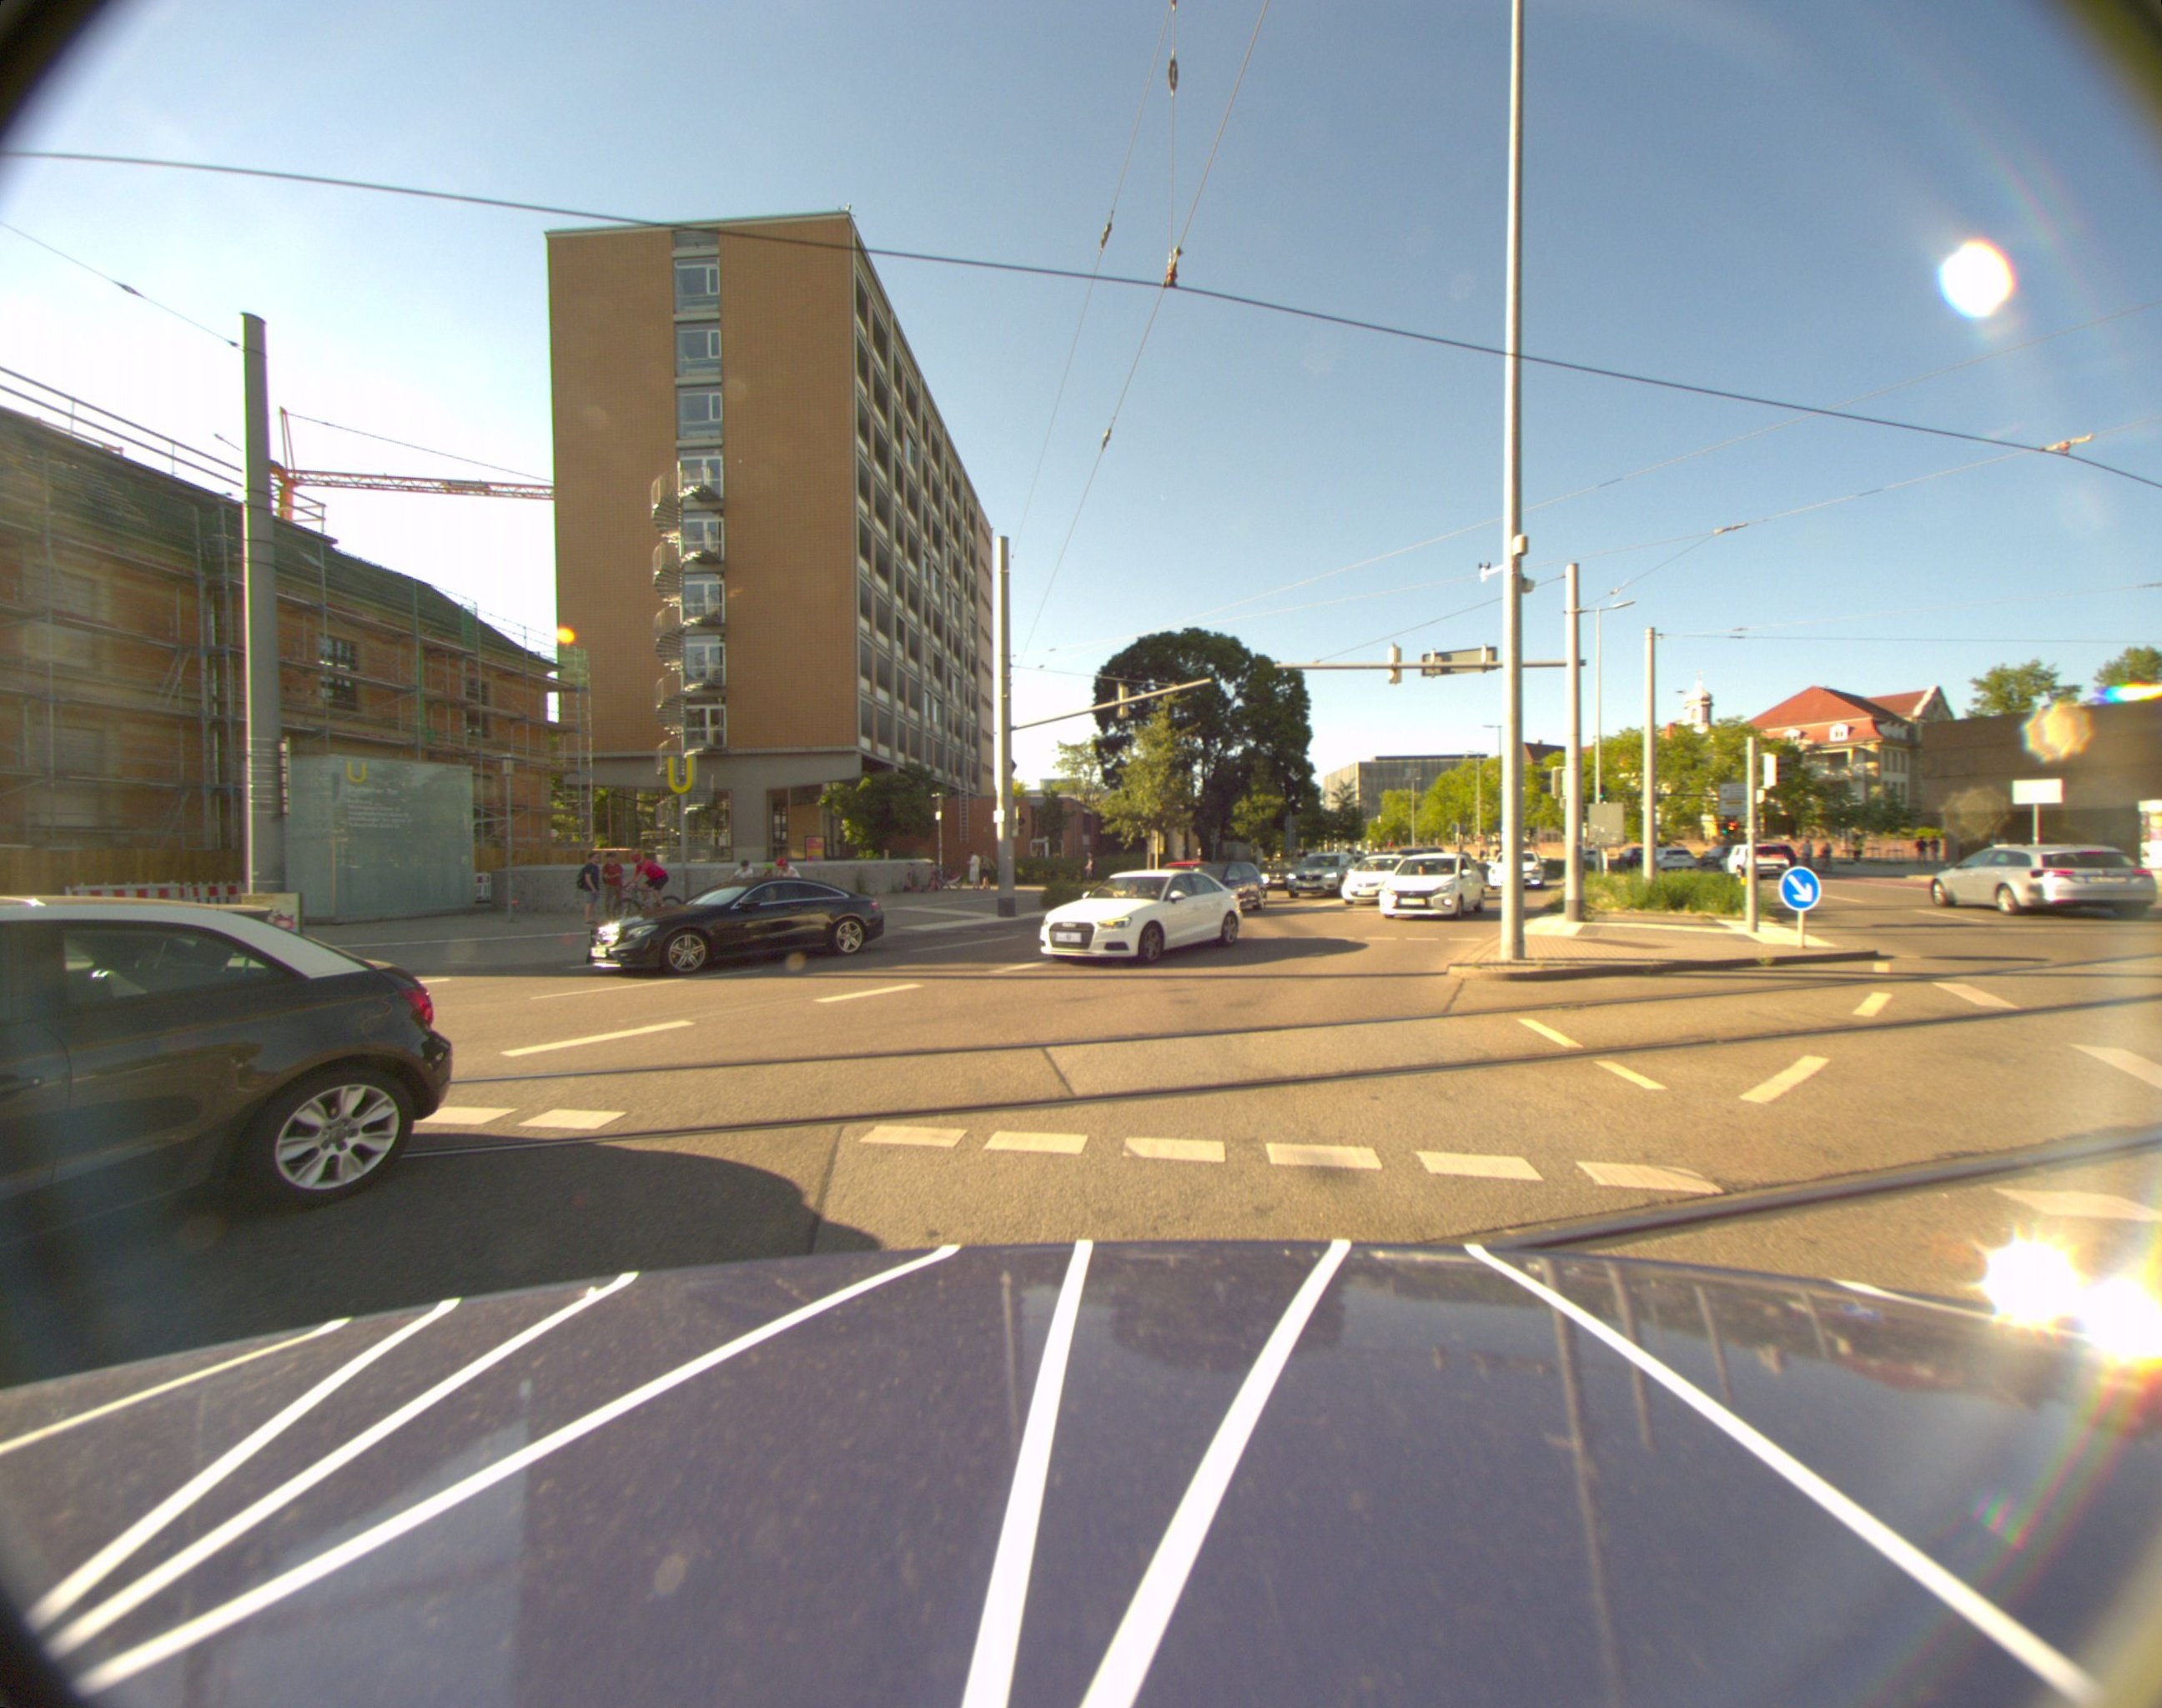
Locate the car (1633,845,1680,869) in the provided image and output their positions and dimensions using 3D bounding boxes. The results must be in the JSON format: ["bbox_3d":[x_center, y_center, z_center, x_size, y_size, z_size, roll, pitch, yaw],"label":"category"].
[{"bbox_3d":[42.793,0.204,56.545,1.855,1.620,3.877,-4,-2,24],"label":"car"}]

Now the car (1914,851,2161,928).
[{"bbox_3d":[20.675,0.692,16.593,1.842,1.414,4.440,-2,0,26],"label":"car"}]

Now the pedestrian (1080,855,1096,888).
[{"bbox_3d":[0.347,0.892,38.749,0.572,1.625,0.505,-3,-1,25],"label":"pedestrian"}]

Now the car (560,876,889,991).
[{"bbox_3d":[-5.675,1.161,12.705,1.813,1.483,4.664,-2,-2,36],"label":"car"}]

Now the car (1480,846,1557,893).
[{"bbox_3d":[16.799,0.533,29.071,1.994,1.666,4.292,0,1,37],"label":"car"}]

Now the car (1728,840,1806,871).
[{"bbox_3d":[40.329,0.109,44.788,1.861,1.620,4.043,-4,-1,19],"label":"car"}]

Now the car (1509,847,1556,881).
[{"bbox_3d":[23.367,0.477,39.319,1.994,1.666,4.291,0,1,31],"label":"car"}]

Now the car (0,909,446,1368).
[{"bbox_3d":[-4.527,1.002,2.157,1.692,1.380,3.837,-1,0,18],"label":"car"}]

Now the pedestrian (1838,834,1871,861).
[{"bbox_3d":[46.744,-0.370,45.928,0.803,1.558,1.181,-3,-1,14],"label":"pedestrian"}]

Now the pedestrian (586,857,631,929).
[{"bbox_3d":[-11.764,0.949,18.940,0.620,1.729,0.734,1,1,28],"label":"pedestrian"}]

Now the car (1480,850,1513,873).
[{"bbox_3d":[31.888,0.540,58.262,1.994,1.666,4.291,0,1,31],"label":"car"}]

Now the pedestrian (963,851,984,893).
[{"bbox_3d":[-4.478,0.743,31.678,0.626,1.701,0.485,-2,-1,-38],"label":"pedestrian"}]

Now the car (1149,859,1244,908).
[{"bbox_3d":[4.104,0.961,26.486,1.751,1.455,4.026,0,2,32],"label":"car"}]

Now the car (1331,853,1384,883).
[{"bbox_3d":[17.085,0.810,46.781,1.995,1.673,4.716,-4,-2,32],"label":"car"}]

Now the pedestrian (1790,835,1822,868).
[{"bbox_3d":[38.994,-0.124,40.867,0.803,1.758,0.964,-3,-1,14],"label":"pedestrian"}]

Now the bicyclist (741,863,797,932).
[{"bbox_3d":[-7.636,1.042,18.623,0.692,1.578,1.018,3,2,24],"label":"bicyclist"}]

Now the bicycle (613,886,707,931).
[{"bbox_3d":[-10.458,1.333,18.924,0.710,0.964,1.884,4,2,40],"label":"bicycle"}]

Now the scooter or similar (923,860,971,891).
[{"bbox_3d":[-5.696,0.909,32.390,1.832,1.239,0.799,-2,-1,-24],"label":"scooter or similar"}]

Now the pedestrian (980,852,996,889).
[{"bbox_3d":[-4.143,0.716,33.902,0.426,1.625,0.505,-3,-1,25],"label":"pedestrian"}]

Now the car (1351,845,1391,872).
[{"bbox_3d":[19.628,0.281,51.310,1.818,1.718,4.008,-1,0,31],"label":"car"}]

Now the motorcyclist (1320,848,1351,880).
[{"bbox_3d":[13.619,0.538,40.606,1.115,1.657,1.457,-3,-1,34],"label":"motorcyclist"}]

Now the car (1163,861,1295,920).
[{"bbox_3d":[4.450,0.992,22.225,1.813,1.483,4.664,-2,-1,38],"label":"car"}]

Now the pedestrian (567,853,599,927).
[{"bbox_3d":[-11.996,0.855,18.318,0.623,1.729,0.664,0,1,-30],"label":"pedestrian"}]

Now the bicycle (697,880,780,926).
[{"bbox_3d":[-8.568,1.203,19.075,0.710,0.964,1.883,3,2,24],"label":"bicycle"}]

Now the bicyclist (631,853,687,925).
[{"bbox_3d":[-10.471,0.841,18.855,0.692,1.699,1.019,4,3,40],"label":"bicyclist"}]

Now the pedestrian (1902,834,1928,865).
[{"bbox_3d":[48.870,-0.278,44.508,0.975,1.758,0.803,-2,-1,-33],"label":"pedestrian"}]

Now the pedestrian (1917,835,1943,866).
[{"bbox_3d":[49.881,-0.179,44.628,0.975,1.758,0.803,-2,-1,-33],"label":"pedestrian"}]

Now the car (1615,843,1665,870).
[{"bbox_3d":[37.919,0.169,51.657,1.855,1.620,3.877,-4,-2,24],"label":"car"}]

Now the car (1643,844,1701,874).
[{"bbox_3d":[35.488,0.281,45.745,1.854,1.620,3.877,-4,-2,25],"label":"car"}]

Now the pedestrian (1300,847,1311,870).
[{"bbox_3d":[16.735,0.337,56.581,0.564,1.651,0.593,-3,-1,32],"label":"pedestrian"}]

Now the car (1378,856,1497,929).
[{"bbox_3d":[8.655,0.842,18.293,1.717,1.484,3.878,-1,1,39],"label":"car"}]

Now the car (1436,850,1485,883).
[{"bbox_3d":[21.185,0.682,42.350,1.995,1.673,4.008,-4,-2,32],"label":"car"}]

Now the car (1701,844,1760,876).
[{"bbox_3d":[42.746,0.349,50.117,1.995,2.002,4.007,0,0,26],"label":"car"}]

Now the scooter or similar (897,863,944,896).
[{"bbox_3d":[-6.568,1.041,31.024,1.710,1.239,0.799,-2,-1,-24],"label":"scooter or similar"}]

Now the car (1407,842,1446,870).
[{"bbox_3d":[22.468,0.123,49.404,1.818,1.718,4.008,-1,0,31],"label":"car"}]

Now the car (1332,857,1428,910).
[{"bbox_3d":[9.313,0.842,23.489,1.779,1.455,3.924,0,0,37],"label":"car"}]

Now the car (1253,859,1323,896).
[{"bbox_3d":[9.405,1.004,34.320,1.751,1.455,4.026,0,2,35],"label":"car"}]

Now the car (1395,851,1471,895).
[{"bbox_3d":[14.868,0.780,31.991,1.995,1.673,4.008,-4,-2,38],"label":"car"}]

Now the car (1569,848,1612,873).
[{"bbox_3d":[36.461,0.443,54.447,1.854,1.620,3.877,-4,-2,25],"label":"car"}]

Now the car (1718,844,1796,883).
[{"bbox_3d":[29.978,0.406,33.800,1.717,1.620,3.878,-2,-1,29],"label":"car"}]

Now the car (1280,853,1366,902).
[{"bbox_3d":[9.027,0.827,28.165,1.995,1.597,4.008,-3,-1,33],"label":"car"}]

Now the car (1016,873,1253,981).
[{"bbox_3d":[1.097,1.086,12.791,1.822,1.380,4.467,-2,-1,37],"label":"car"}]

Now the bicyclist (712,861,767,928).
[{"bbox_3d":[-8.566,0.995,19.058,0.692,1.578,1.018,3,2,24],"label":"bicyclist"}]

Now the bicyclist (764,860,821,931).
[{"bbox_3d":[-6.788,0.948,17.910,0.692,1.578,1.019,3,2,25],"label":"bicyclist"}]

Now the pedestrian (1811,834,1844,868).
[{"bbox_3d":[39.812,-0.173,40.533,0.803,1.758,0.974,-3,-1,14],"label":"pedestrian"}]
